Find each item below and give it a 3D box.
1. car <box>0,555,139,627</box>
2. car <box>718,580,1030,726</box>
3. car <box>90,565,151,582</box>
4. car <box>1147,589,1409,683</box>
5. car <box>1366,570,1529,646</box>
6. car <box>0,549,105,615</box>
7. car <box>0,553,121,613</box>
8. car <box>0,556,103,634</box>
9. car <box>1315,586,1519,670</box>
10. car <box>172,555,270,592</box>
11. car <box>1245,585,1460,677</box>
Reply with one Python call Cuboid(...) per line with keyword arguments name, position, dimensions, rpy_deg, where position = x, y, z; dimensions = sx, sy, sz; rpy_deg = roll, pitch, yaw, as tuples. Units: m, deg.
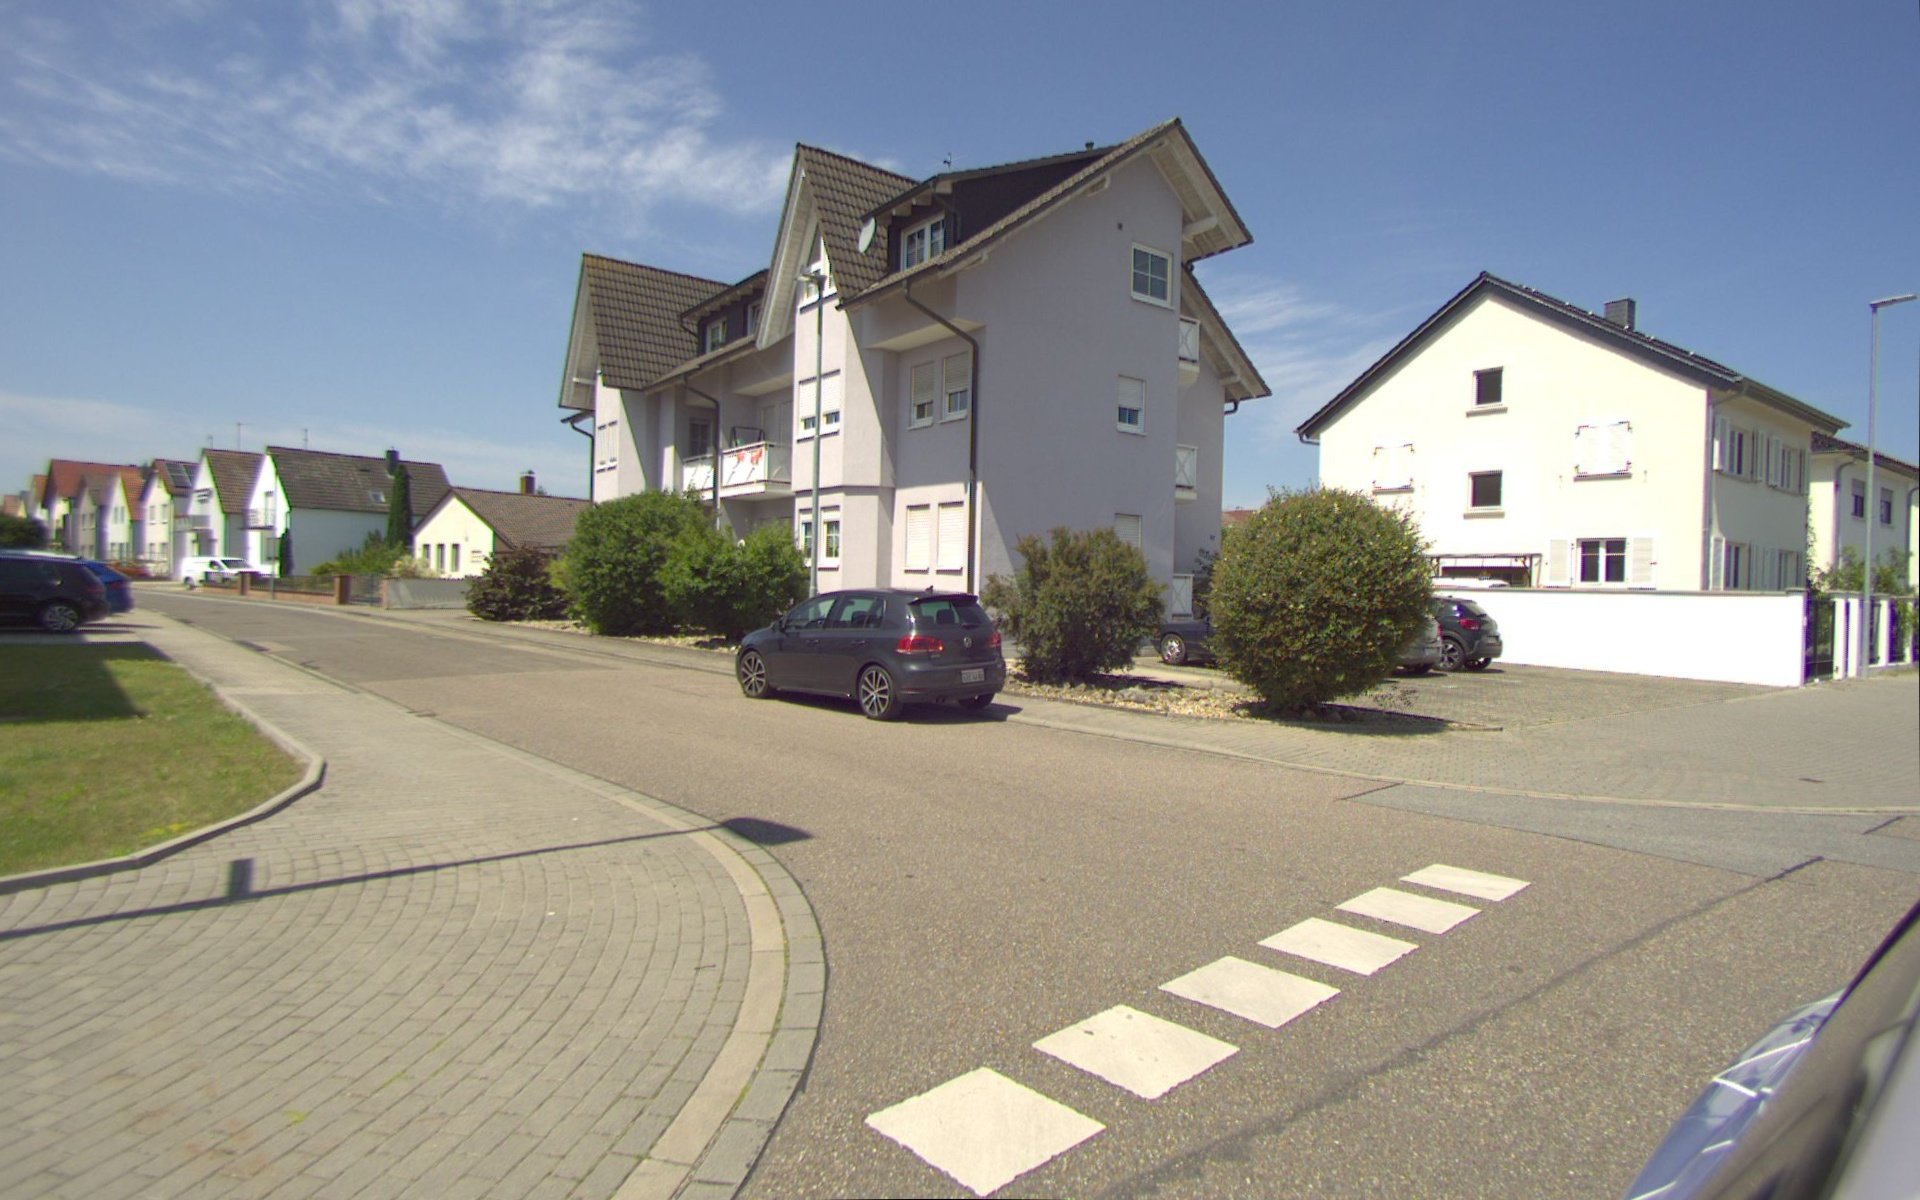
Cuboid(name="car", position=(-19.486, -0.195, 21.393), dimensions=(1.458, 1.459, 3.165), rpy_deg=(2, 1, 45))
Cuboid(name="car", position=(-1.203, 0.535, 12.726), dimensions=(3.993, 1.486, 1.728), rpy_deg=(2, 1, 45))
Cuboid(name="car", position=(-61.212, -1.943, 73.801), dimensions=(1.296, 1.180, 3.342), rpy_deg=(2, 1, 44))
Cuboid(name="car", position=(5.506, 0.551, 17.981), dimensions=(1.635, 1.391, 4.210), rpy_deg=(1, 1, -40))
Cuboid(name="car", position=(12.690, 0.168, 26.469), dimensions=(1.739, 1.835, 3.395), rpy_deg=(1, 1, -38))
Cuboid(name="car", position=(-23.289, -0.447, 25.026), dimensions=(1.458, 1.596, 3.165), rpy_deg=(2, 1, 45))
Cuboid(name="car", position=(-25.259, -0.465, 27.883), dimensions=(1.458, 1.596, 3.165), rpy_deg=(2, 1, 45))
Cuboid(name="car", position=(-18.628, -0.121, 18.885), dimensions=(3.940, 1.430, 1.752), rpy_deg=(1, 1, -44))
Cuboid(name="car", position=(9.419, 0.517, 21.022), dimensions=(1.636, 1.515, 3.505), rpy_deg=(1, 1, -42))
Cuboid(name="car", position=(-40.413, -1.453, 55.353), dimensions=(4.391, 1.900, 1.992), rpy_deg=(2, 1, 14))
Cuboid(name="car", position=(7.429, 0.526, 19.368), dimensions=(1.635, 1.513, 3.452), rpy_deg=(1, 1, -40))
